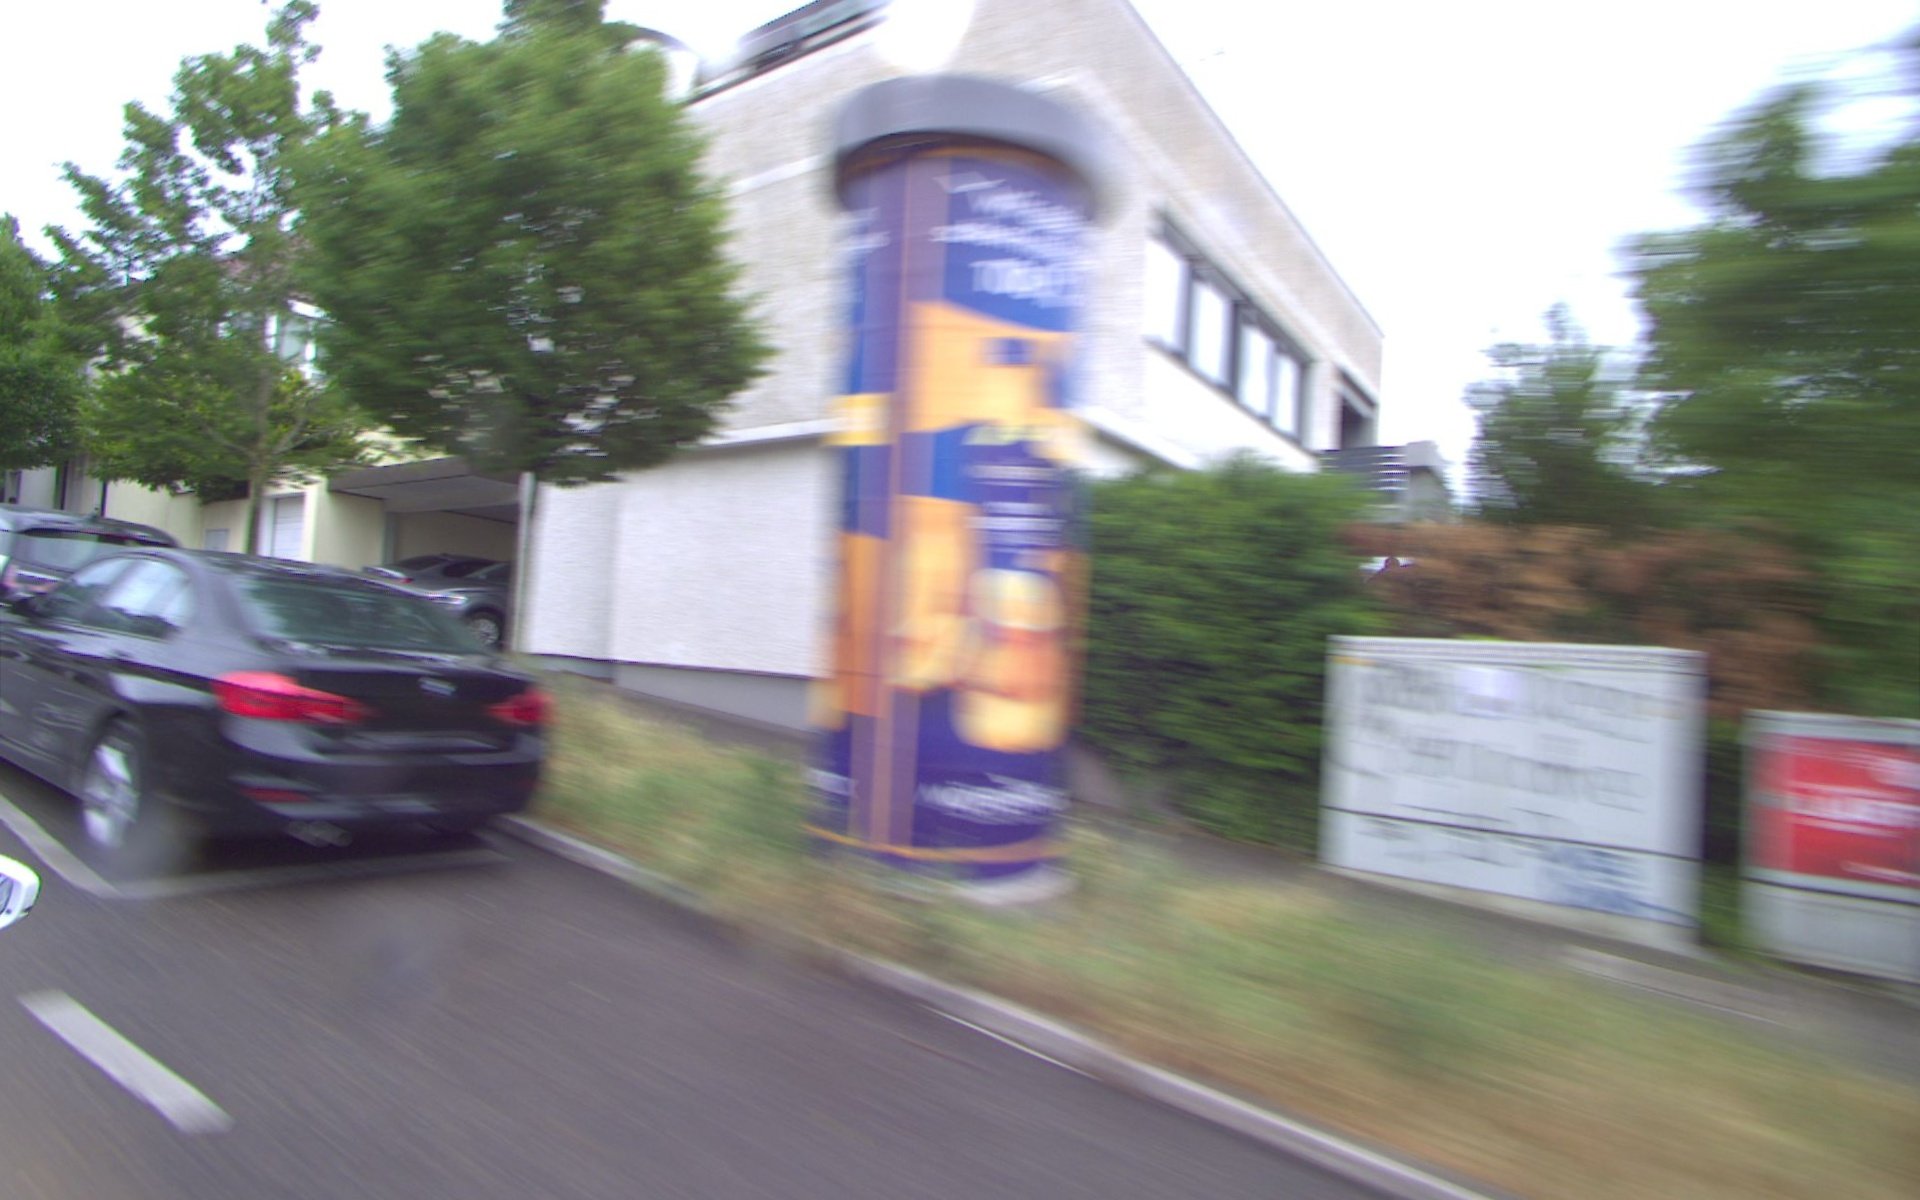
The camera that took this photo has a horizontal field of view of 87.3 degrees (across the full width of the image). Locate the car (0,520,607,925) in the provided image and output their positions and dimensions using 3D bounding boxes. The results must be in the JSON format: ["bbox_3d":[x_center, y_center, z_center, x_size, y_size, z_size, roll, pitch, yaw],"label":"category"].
[{"bbox_3d":[-4.450,0.428,5.963,4.802,1.455,1.782,6,-3,33],"label":"car"}]

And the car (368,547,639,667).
[{"bbox_3d":[-7.634,0.170,17.103,1.755,1.524,3.703,6,-2,37],"label":"car"}]

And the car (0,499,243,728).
[{"bbox_3d":[-8.351,0.004,8.989,4.054,1.625,1.732,6,-4,35],"label":"car"}]

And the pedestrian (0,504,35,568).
[{"bbox_3d":[-26.446,-1.794,27.977,1.029,1.708,0.831,6,2,37],"label":"pedestrian"}]

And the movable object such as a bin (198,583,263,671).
[{"bbox_3d":[-8.733,0.316,12.041,0.596,0.988,0.484,6,3,42],"label":"movable object such as a bin"}]

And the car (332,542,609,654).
[{"bbox_3d":[-9.164,0.022,19.186,1.802,1.497,4.301,6,-3,36],"label":"car"}]
